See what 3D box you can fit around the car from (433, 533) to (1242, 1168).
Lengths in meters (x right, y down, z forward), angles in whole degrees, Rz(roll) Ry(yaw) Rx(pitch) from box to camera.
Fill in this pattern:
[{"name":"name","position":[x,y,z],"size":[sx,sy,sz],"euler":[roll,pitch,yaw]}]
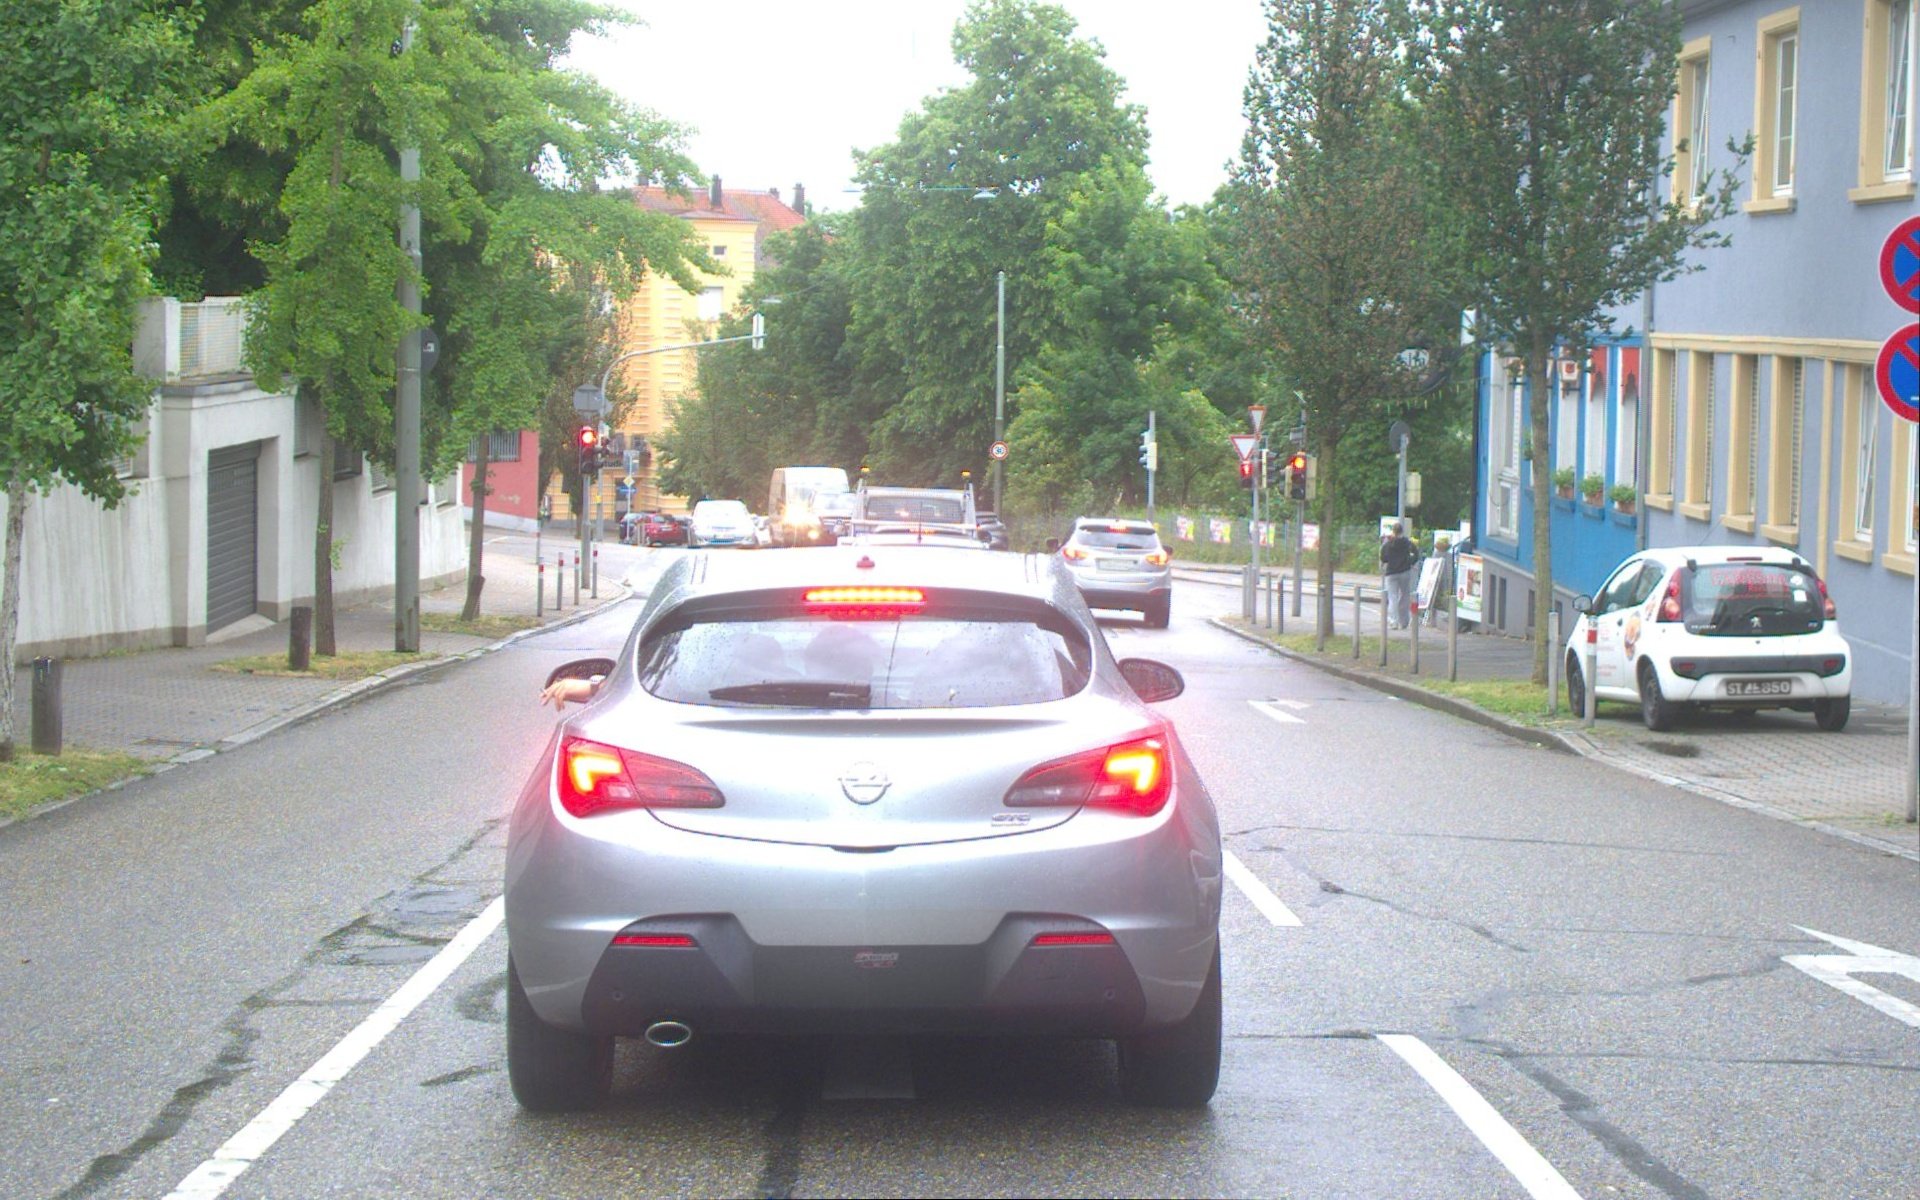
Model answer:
[{"name":"car","position":[-0.361,0.543,9.855],"size":[1.837,1.429,3.880],"euler":[1,1,-2]}]

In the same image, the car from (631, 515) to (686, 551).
[{"name":"car","position":[-13.881,-3.067,158.096],"size":[1.722,1.632,3.881],"euler":[0,1,-18]}]

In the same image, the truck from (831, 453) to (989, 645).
[{"name":"truck","position":[-0.721,-0.726,47.087],"size":[1.962,2.420,4.936],"euler":[2,1,-2]}]

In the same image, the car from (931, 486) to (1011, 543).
[{"name":"car","position":[0.313,-2.505,100.747],"size":[1.722,1.632,3.881],"euler":[0,1,-9]}]

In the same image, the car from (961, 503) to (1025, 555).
[{"name":"car","position":[1.035,-2.247,108.888],"size":[1.722,1.632,3.880],"euler":[0,1,-4]}]

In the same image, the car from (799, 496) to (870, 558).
[{"name":"car","position":[-3.364,-1.973,92.596],"size":[1.870,1.632,3.880],"euler":[0,1,-2]}]

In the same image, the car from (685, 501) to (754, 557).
[{"name":"car","position":[-6.458,-1.914,92.577],"size":[1.722,1.455,3.880],"euler":[0,1,-2]}]

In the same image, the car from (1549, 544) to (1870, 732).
[{"name":"car","position":[6.163,0.266,28.696],"size":[1.722,1.443,3.880],"euler":[0,1,-2]}]

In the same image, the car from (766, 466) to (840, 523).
[{"name":"car","position":[-4.598,-3.060,100.217],"size":[1.722,1.632,3.881],"euler":[0,1,-9]}]

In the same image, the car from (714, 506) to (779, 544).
[{"name":"car","position":[-8.677,-3.030,139.325],"size":[1.722,1.538,3.881],"euler":[0,1,-18]}]

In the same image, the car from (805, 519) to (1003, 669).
[{"name":"car","position":[-0.633,-0.113,37.095],"size":[1.962,1.443,4.306],"euler":[2,1,-2]}]

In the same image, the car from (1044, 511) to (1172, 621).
[{"name":"car","position":[2.335,-0.569,55.122],"size":[1.722,1.708,3.880],"euler":[0,1,-2]}]

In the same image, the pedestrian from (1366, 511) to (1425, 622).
[{"name":"pedestrian","position":[6.924,-0.543,54.668],"size":[0.783,1.723,0.651],"euler":[2,1,0]}]

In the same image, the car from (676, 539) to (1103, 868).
[{"name":"car","position":[-0.395,0.452,18.337],"size":[1.962,1.443,4.306],"euler":[2,1,-2]}]

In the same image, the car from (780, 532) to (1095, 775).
[{"name":"car","position":[-0.207,0.301,24.058],"size":[1.962,1.443,4.306],"euler":[2,1,-2]}]

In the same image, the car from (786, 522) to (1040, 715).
[{"name":"car","position":[-0.437,0.102,29.436],"size":[1.962,1.443,4.306],"euler":[2,1,-2]}]
